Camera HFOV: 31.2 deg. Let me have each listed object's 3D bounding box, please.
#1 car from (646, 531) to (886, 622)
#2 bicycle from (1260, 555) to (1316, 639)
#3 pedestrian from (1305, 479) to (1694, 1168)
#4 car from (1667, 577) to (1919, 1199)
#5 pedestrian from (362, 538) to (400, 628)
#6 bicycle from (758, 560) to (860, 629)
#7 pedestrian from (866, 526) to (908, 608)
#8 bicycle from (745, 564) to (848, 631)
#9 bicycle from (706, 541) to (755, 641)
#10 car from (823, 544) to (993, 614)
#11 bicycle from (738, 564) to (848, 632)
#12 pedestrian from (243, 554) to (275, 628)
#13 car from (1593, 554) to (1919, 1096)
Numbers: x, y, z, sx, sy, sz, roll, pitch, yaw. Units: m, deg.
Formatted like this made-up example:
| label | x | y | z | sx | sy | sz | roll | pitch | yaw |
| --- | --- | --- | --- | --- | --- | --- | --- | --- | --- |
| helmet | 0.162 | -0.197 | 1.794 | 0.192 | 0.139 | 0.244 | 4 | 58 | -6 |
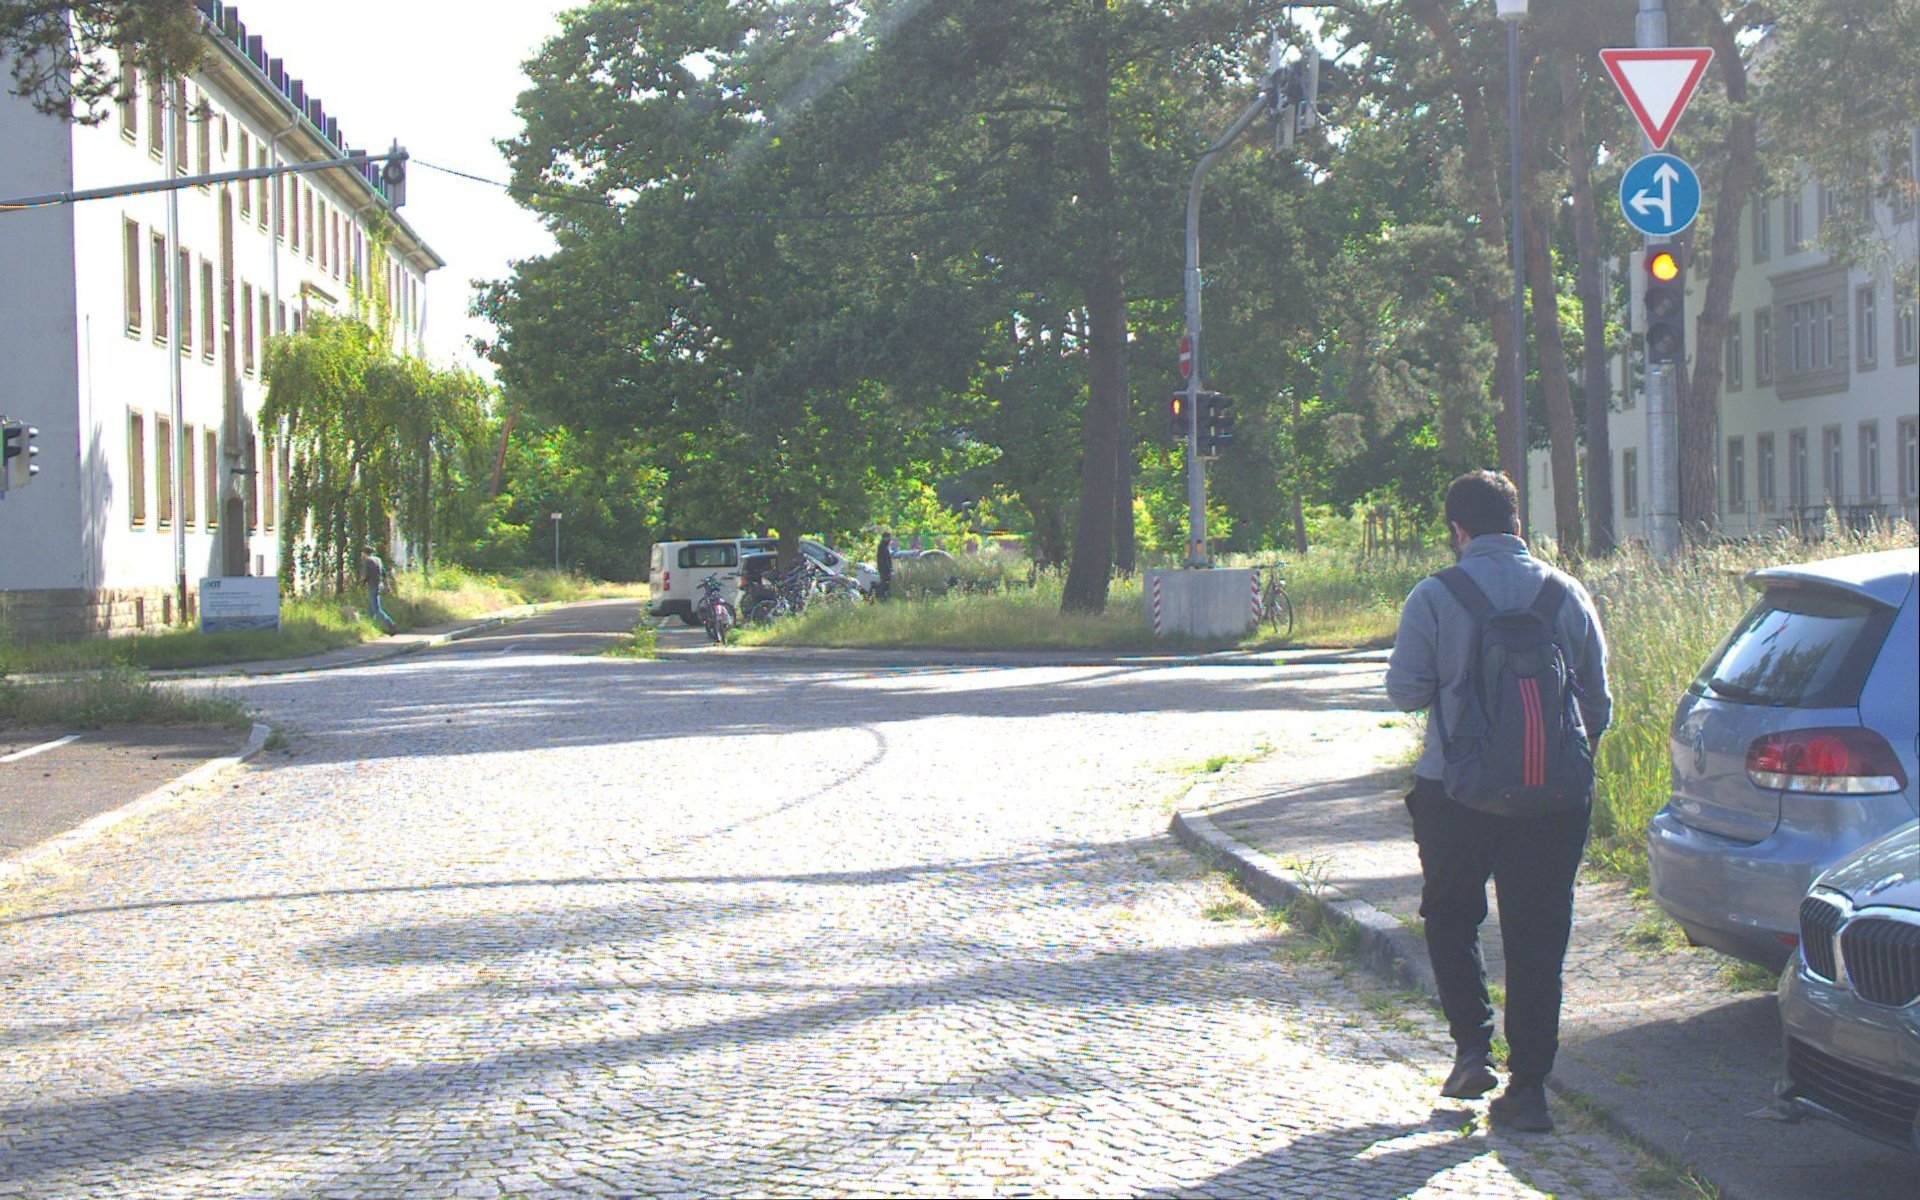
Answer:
| label | x | y | z | sx | sy | sz | roll | pitch | yaw |
| --- | --- | --- | --- | --- | --- | --- | --- | --- | --- |
| car | -4.359 | -0.543 | 76.890 | 5.065 | 1.911 | 2.001 | -1 | 1 | -13 |
| bicycle | 4.542 | -0.057 | 47.567 | 0.722 | 1.111 | 2.583 | -1 | 1 | 6 |
| pedestrian | 1.420 | 0.567 | 9.189 | 0.753 | 1.719 | 0.828 | 4 | 1 | -4 |
| car | 4.187 | 0.584 | 7.854 | 4.619 | 1.450 | 1.870 | -3 | 1 | -6 |
| pedestrian | -11.406 | -0.342 | 67.701 | 0.606 | 1.746 | 0.630 | -1 | 1 | -19 |
| bicycle | -2.650 | -0.098 | 60.290 | 1.727 | 1.160 | 0.561 | -1 | 1 | -7 |
| pedestrian | -1.606 | -0.724 | 75.507 | 0.759 | 1.777 | 0.684 | -1 | 1 | -11 |
| bicycle | -2.839 | -0.046 | 59.597 | 1.727 | 1.108 | 0.484 | -1 | 1 | -7 |
| bicycle | -3.746 | -0.168 | 55.943 | 0.753 | 1.575 | 2.537 | -1 | 1 | -4 |
| car | -1.236 | -0.501 | 80.926 | 3.743 | 1.574 | 1.742 | -1 | 1 | -11 |
| bicycle | -2.870 | -0.037 | 59.049 | 1.834 | 1.108 | 0.495 | -1 | 1 | -7 |
| pedestrian | -14.739 | -0.193 | 72.296 | 0.606 | 1.554 | 0.545 | -1 | 1 | -10 |
| car | 3.965 | 0.546 | 10.419 | 3.673 | 1.438 | 1.665 | -3 | 1 | -4 |
